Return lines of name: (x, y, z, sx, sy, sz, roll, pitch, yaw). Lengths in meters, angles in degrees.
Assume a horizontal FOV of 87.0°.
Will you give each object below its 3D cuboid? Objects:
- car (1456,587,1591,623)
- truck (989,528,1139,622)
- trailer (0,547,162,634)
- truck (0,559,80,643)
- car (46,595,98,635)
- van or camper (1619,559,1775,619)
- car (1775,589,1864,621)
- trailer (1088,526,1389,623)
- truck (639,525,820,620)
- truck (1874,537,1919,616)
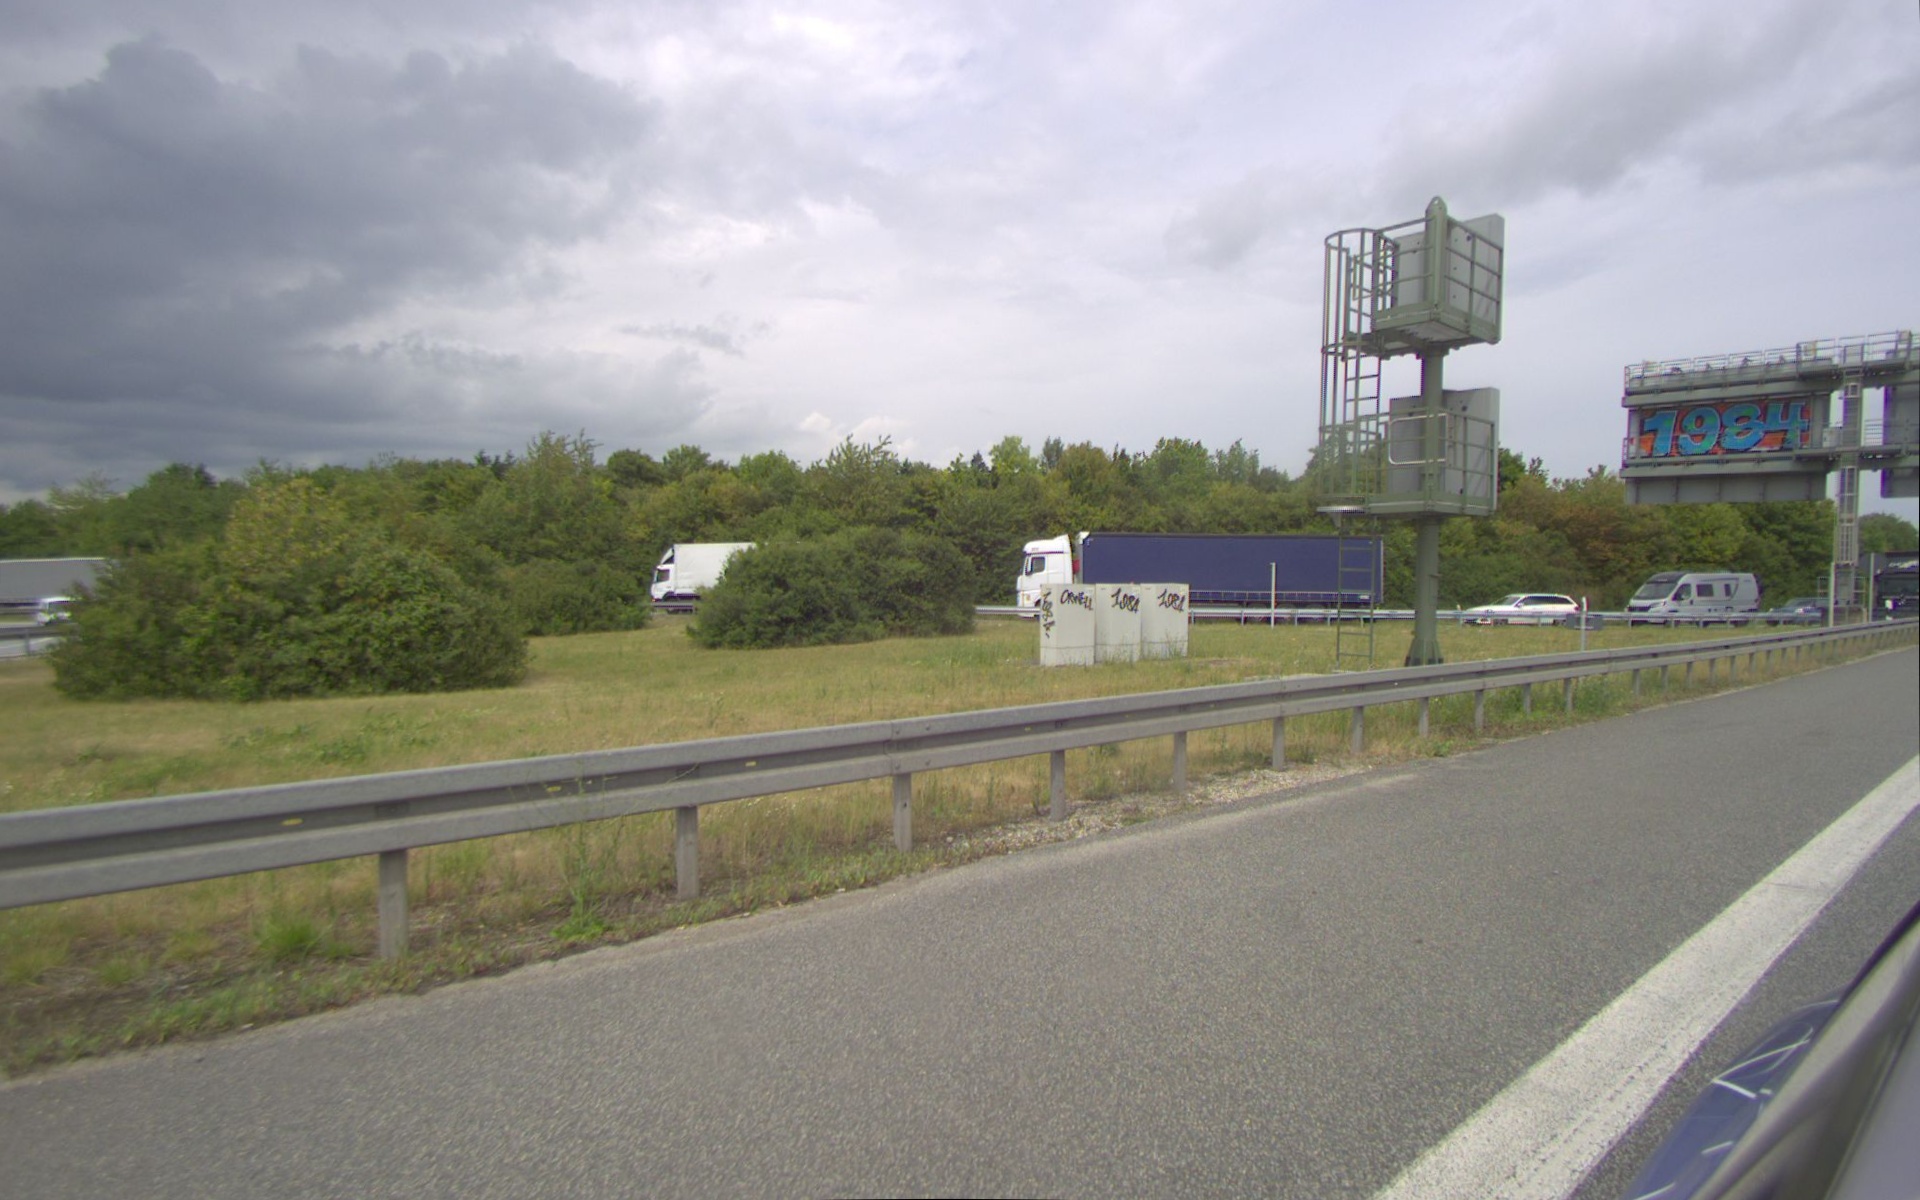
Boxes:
car: (24.672, 0.209, 44.428, 4.692, 1.520, 2.216, 0, 1, -4)
truck: (4.666, -1.119, 46.653, 6.664, 4.147, 3.369, 0, 0, 2)
trailer: (-66.038, -0.651, 75.406, 11.919, 6.165, 4.000, 0, 0, 15)
truck: (-72.618, 0.108, 77.177, 8.845, 6.150, 4.051, -1, 0, 14)
car: (-42.900, 0.735, 48.910, 1.769, 1.772, 3.992, -2, 0, -42)
van or camper: (33.287, -0.514, 45.732, 6.031, 2.600, 2.306, 0, 1, -13)
car: (41.030, 0.215, 48.332, 3.589, 1.437, 1.738, -1, 0, -22)
trailer: (12.432, -1.118, 46.252, 12.793, 4.246, 3.339, 0, 0, 3)
truck: (-11.976, -1.343, 52.612, 8.881, 4.674, 3.261, 0, 0, 21)
truck: (53.225, -1.230, 54.321, 10.131, 4.004, 3.030, 0, 0, -29)
